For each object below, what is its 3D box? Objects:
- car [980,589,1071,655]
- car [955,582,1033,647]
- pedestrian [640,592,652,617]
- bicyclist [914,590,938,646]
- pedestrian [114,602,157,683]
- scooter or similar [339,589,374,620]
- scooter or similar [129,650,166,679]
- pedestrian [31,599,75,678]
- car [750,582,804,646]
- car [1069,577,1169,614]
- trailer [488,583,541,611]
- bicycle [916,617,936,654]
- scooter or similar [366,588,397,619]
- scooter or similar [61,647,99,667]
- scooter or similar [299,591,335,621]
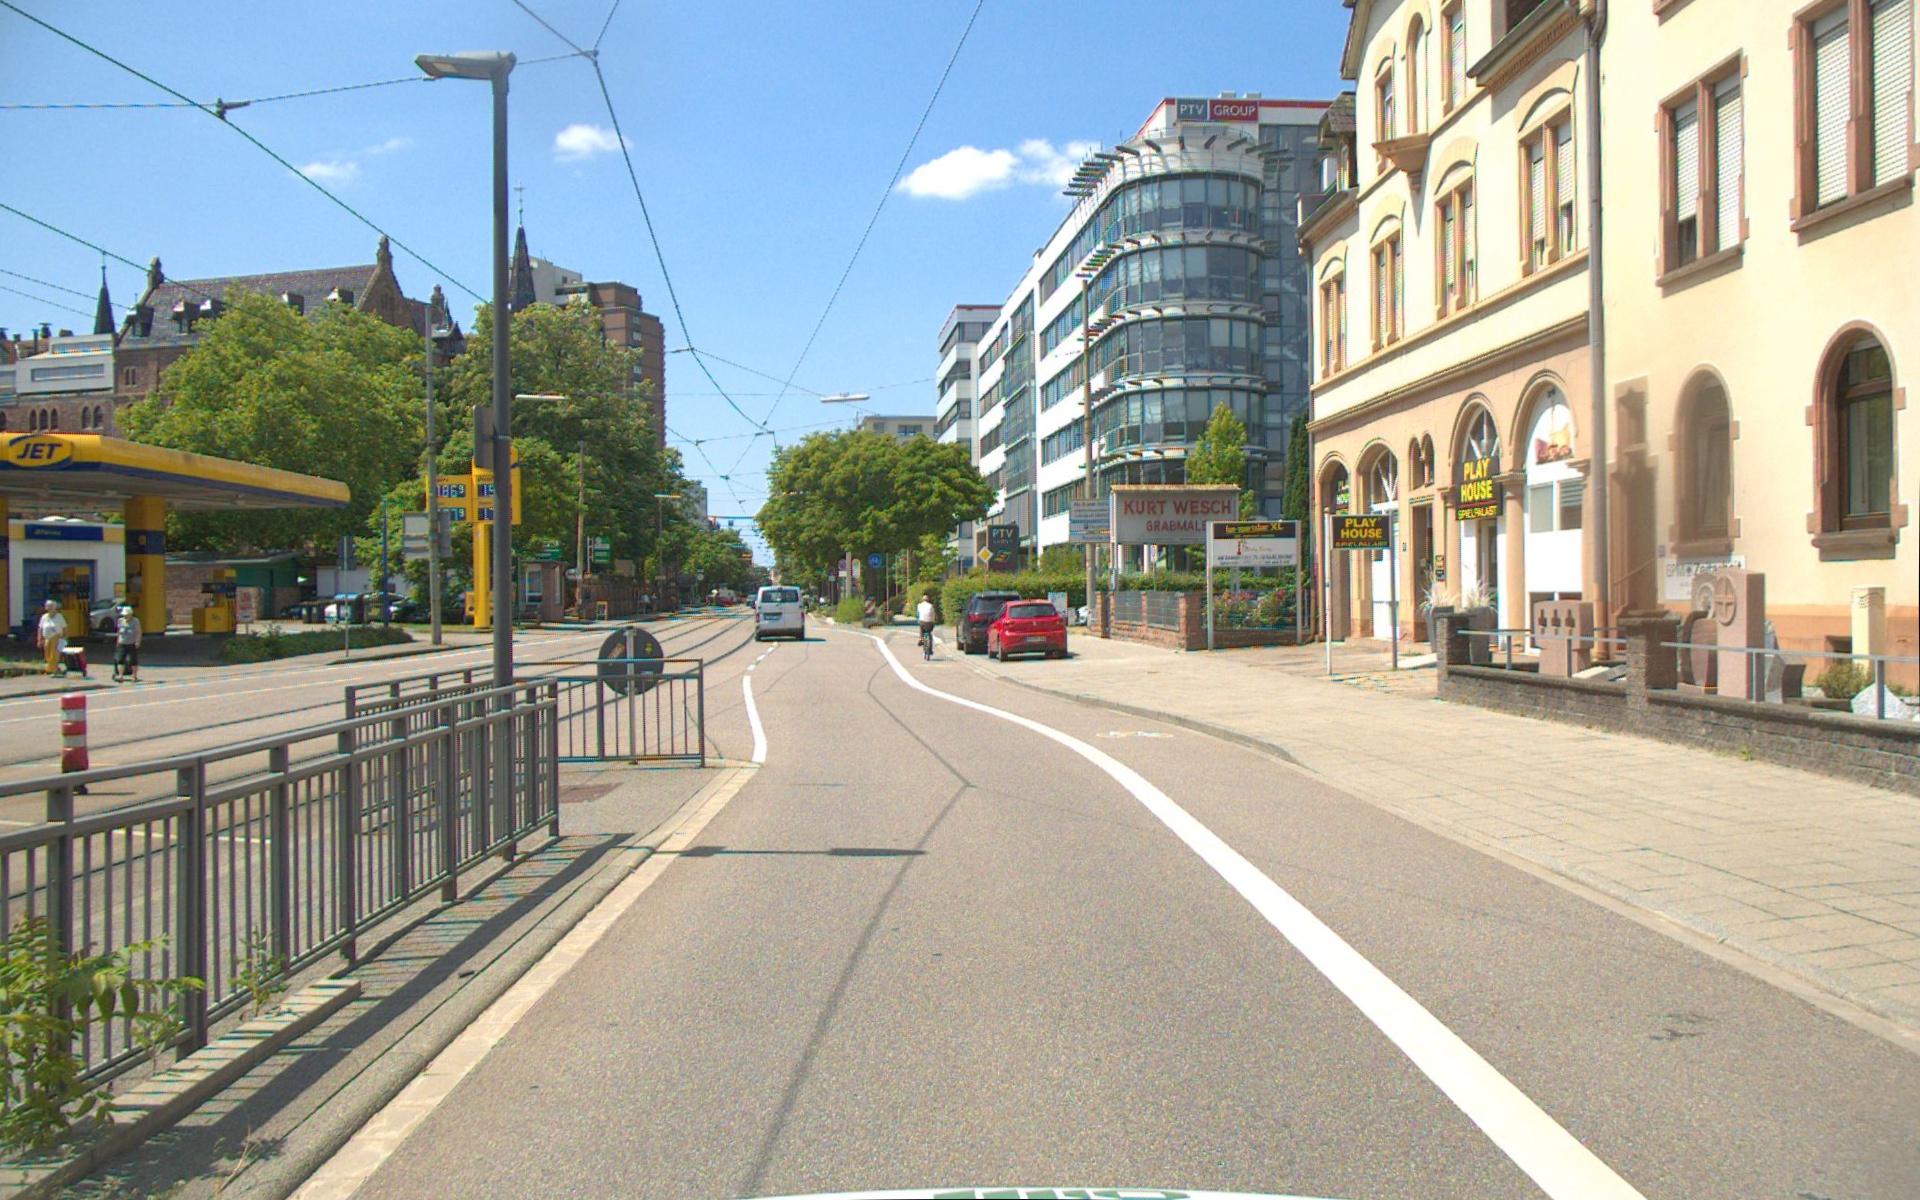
[{"bbox_3d":[1.608,0.509,41.771,1.679,1.478,4.067,-3,1,-6],"label":"car"},{"bbox_3d":[0.913,0.376,47.741,1.826,1.716,4.997,-2,1,-3],"label":"car"},{"bbox_3d":[-25.710,0.356,135.512,0.848,2.049,0.645,-3,-1,-9],"label":"pedestrian"},{"bbox_3d":[-0.878,0.463,42.911,0.579,1.421,0.841,-1,0,-3],"label":"bicyclist"},{"bbox_3d":[-17.655,0.896,35.427,0.568,1.700,0.667,0,0,2],"label":"pedestrian"},{"bbox_3d":[-29.878,0.221,81.842,1.286,1.492,1.060,-1,0,5],"label":"scooter or similar"},{"bbox_3d":[-17.849,1.414,36.356,0.466,0.591,0.631,0,0,5],"label":"scooter or similar"},{"bbox_3d":[-19.481,0.820,35.525,0.541,1.687,0.672,0,0,1],"label":"pedestrian"},{"bbox_3d":[-6.360,0.438,57.546,1.719,2.048,3.995,-2,1,-6],"label":"car"},{"bbox_3d":[6.306,-0.179,65.774,3.725,1.297,1.554,-2,1,-6],"label":"car"},{"bbox_3d":[-24.723,-0.173,91.821,2.674,1.553,1.328,0,-1,-5],"label":"trailer"},{"bbox_3d":[-0.883,0.908,42.920,0.456,0.903,2.047,-1,1,-3],"label":"bicycle"},{"bbox_3d":[-28.416,0.182,81.275,1.148,1.492,1.059,-1,0,-1],"label":"scooter or similar"},{"bbox_3d":[-19.393,1.252,36.448,0.463,0.401,0.672,-1,0,1],"label":"scooter or similar"},{"bbox_3d":[-32.010,0.302,82.328,1.286,1.492,1.060,-1,0,5],"label":"scooter or similar"}]
